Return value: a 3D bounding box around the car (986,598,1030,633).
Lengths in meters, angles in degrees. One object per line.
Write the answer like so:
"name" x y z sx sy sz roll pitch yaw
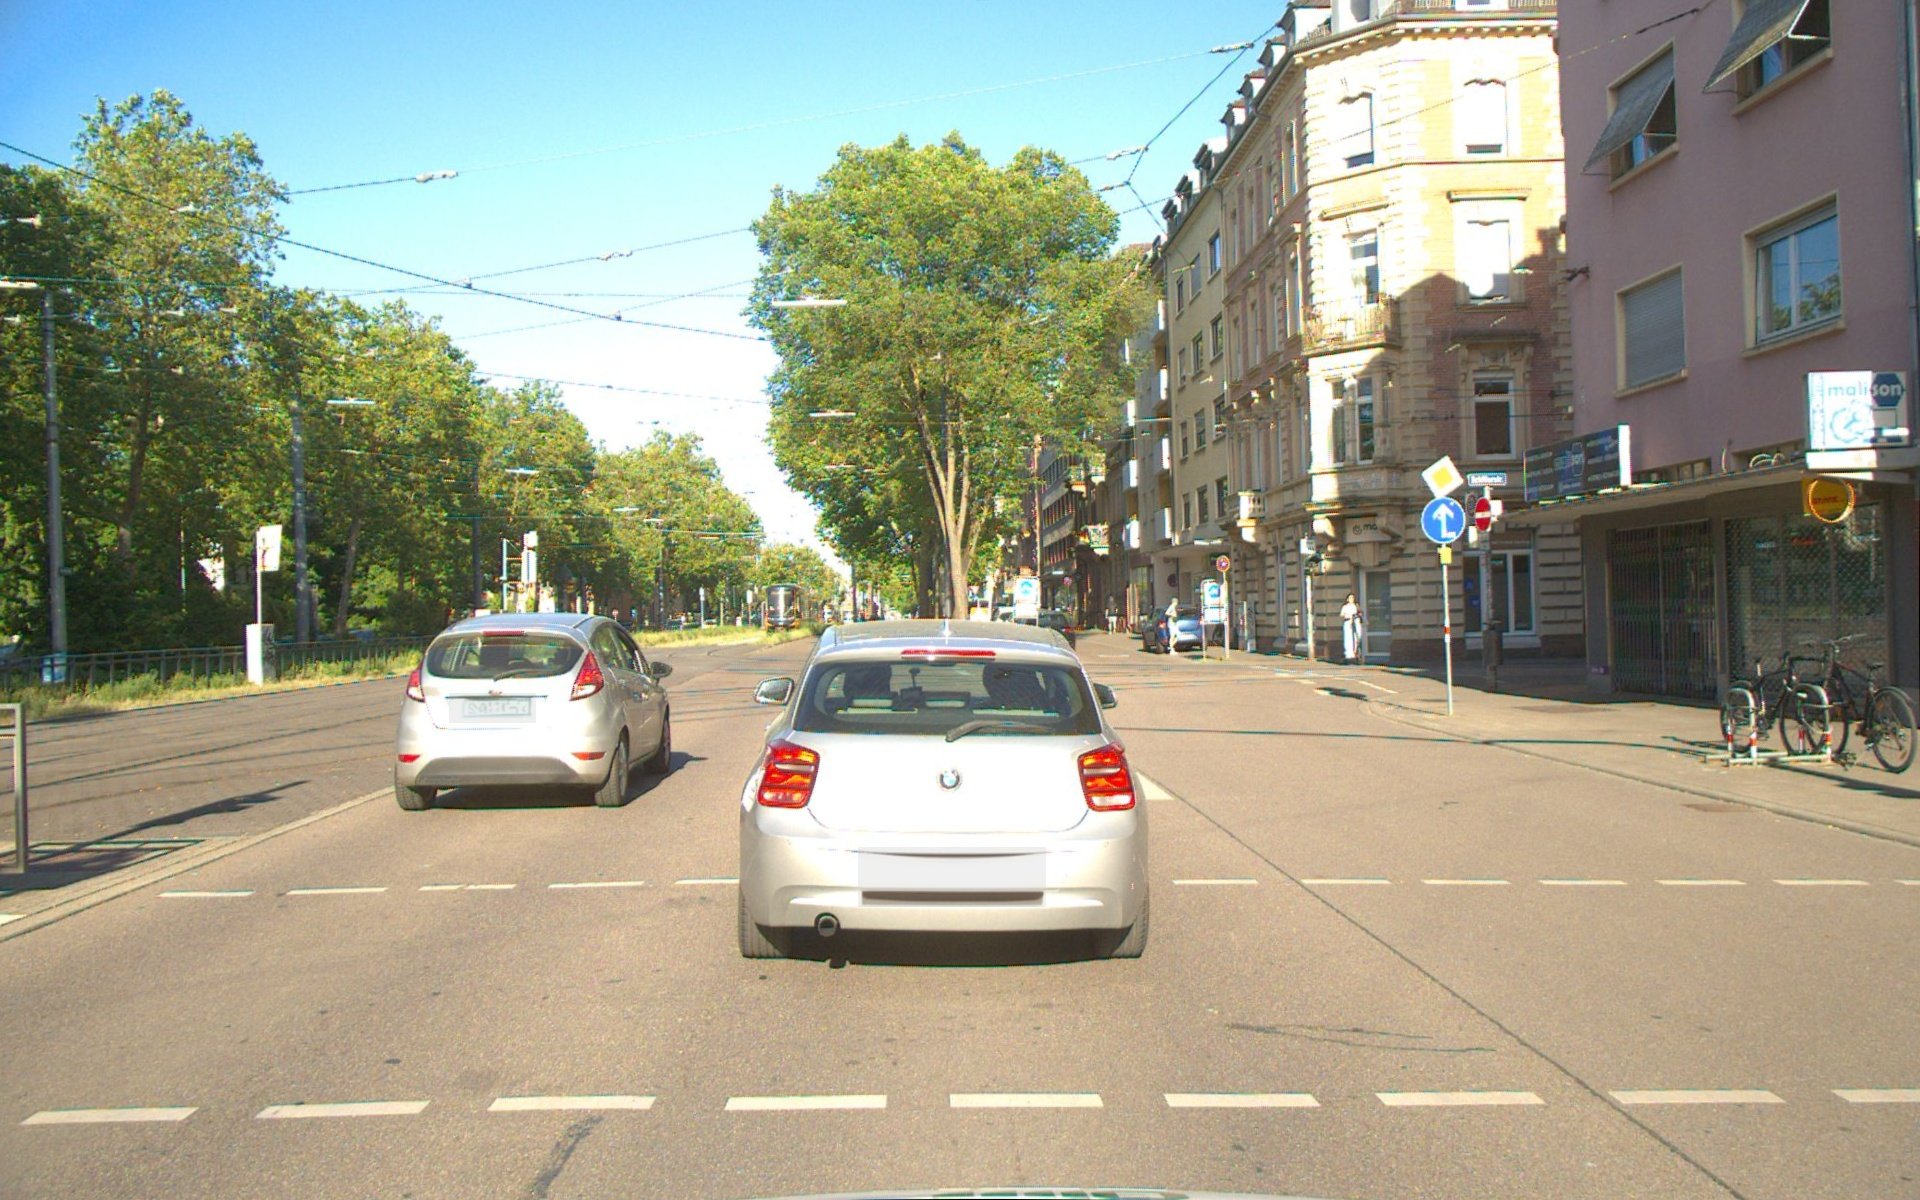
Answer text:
"car" 2.123 0.686 73.606 1.690 1.533 3.553 0 0 -3

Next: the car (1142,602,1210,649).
"car" 7.236 0.839 55.574 1.700 1.546 3.635 0 0 -2

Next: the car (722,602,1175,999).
"car" -0.081 0.764 8.245 1.705 1.493 3.999 0 0 -1

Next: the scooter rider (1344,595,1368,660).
"scooter rider" 9.518 0.658 39.787 0.455 1.531 0.811 -1 0 8

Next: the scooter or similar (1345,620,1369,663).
"scooter or similar" 9.524 0.990 39.719 0.330 1.005 1.285 -1 0 4

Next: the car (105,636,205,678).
"car" -30.812 2.155 63.420 1.897 1.536 4.276 -1 -1 -3

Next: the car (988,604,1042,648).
"car" 1.989 0.935 60.773 1.690 1.533 3.553 0 0 -3

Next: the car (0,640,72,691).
"car" -30.255 2.071 52.568 1.897 1.536 4.276 -1 -1 -3

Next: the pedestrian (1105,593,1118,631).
"pedestrian" 7.510 0.602 82.066 0.495 1.833 0.805 -2 0 -2

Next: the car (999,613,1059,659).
"car" 2.272 1.183 55.080 1.709 1.458 3.553 0 0 -3

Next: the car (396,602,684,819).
"car" -3.296 0.786 13.658 1.577 1.493 3.887 -1 0 -4

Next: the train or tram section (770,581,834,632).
"train or tram section" -13.124 0.527 138.888 3.924 3.933 17.483 -1 0 -1

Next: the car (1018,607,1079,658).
"car" 2.614 0.948 49.594 1.700 1.458 3.678 0 0 1

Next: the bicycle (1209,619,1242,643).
"bicycle" 8.967 1.043 55.908 0.739 0.784 1.944 -1 0 -3

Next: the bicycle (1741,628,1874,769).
"bicycle" 7.615 0.852 14.940 0.405 1.161 1.810 -1 0 5

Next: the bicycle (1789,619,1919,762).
"bicycle" 8.103 0.779 14.947 0.439 1.179 1.759 -1 0 5

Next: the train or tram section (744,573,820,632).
"train or tram section" -12.853 0.225 121.363 3.888 3.933 17.483 -1 0 -1
